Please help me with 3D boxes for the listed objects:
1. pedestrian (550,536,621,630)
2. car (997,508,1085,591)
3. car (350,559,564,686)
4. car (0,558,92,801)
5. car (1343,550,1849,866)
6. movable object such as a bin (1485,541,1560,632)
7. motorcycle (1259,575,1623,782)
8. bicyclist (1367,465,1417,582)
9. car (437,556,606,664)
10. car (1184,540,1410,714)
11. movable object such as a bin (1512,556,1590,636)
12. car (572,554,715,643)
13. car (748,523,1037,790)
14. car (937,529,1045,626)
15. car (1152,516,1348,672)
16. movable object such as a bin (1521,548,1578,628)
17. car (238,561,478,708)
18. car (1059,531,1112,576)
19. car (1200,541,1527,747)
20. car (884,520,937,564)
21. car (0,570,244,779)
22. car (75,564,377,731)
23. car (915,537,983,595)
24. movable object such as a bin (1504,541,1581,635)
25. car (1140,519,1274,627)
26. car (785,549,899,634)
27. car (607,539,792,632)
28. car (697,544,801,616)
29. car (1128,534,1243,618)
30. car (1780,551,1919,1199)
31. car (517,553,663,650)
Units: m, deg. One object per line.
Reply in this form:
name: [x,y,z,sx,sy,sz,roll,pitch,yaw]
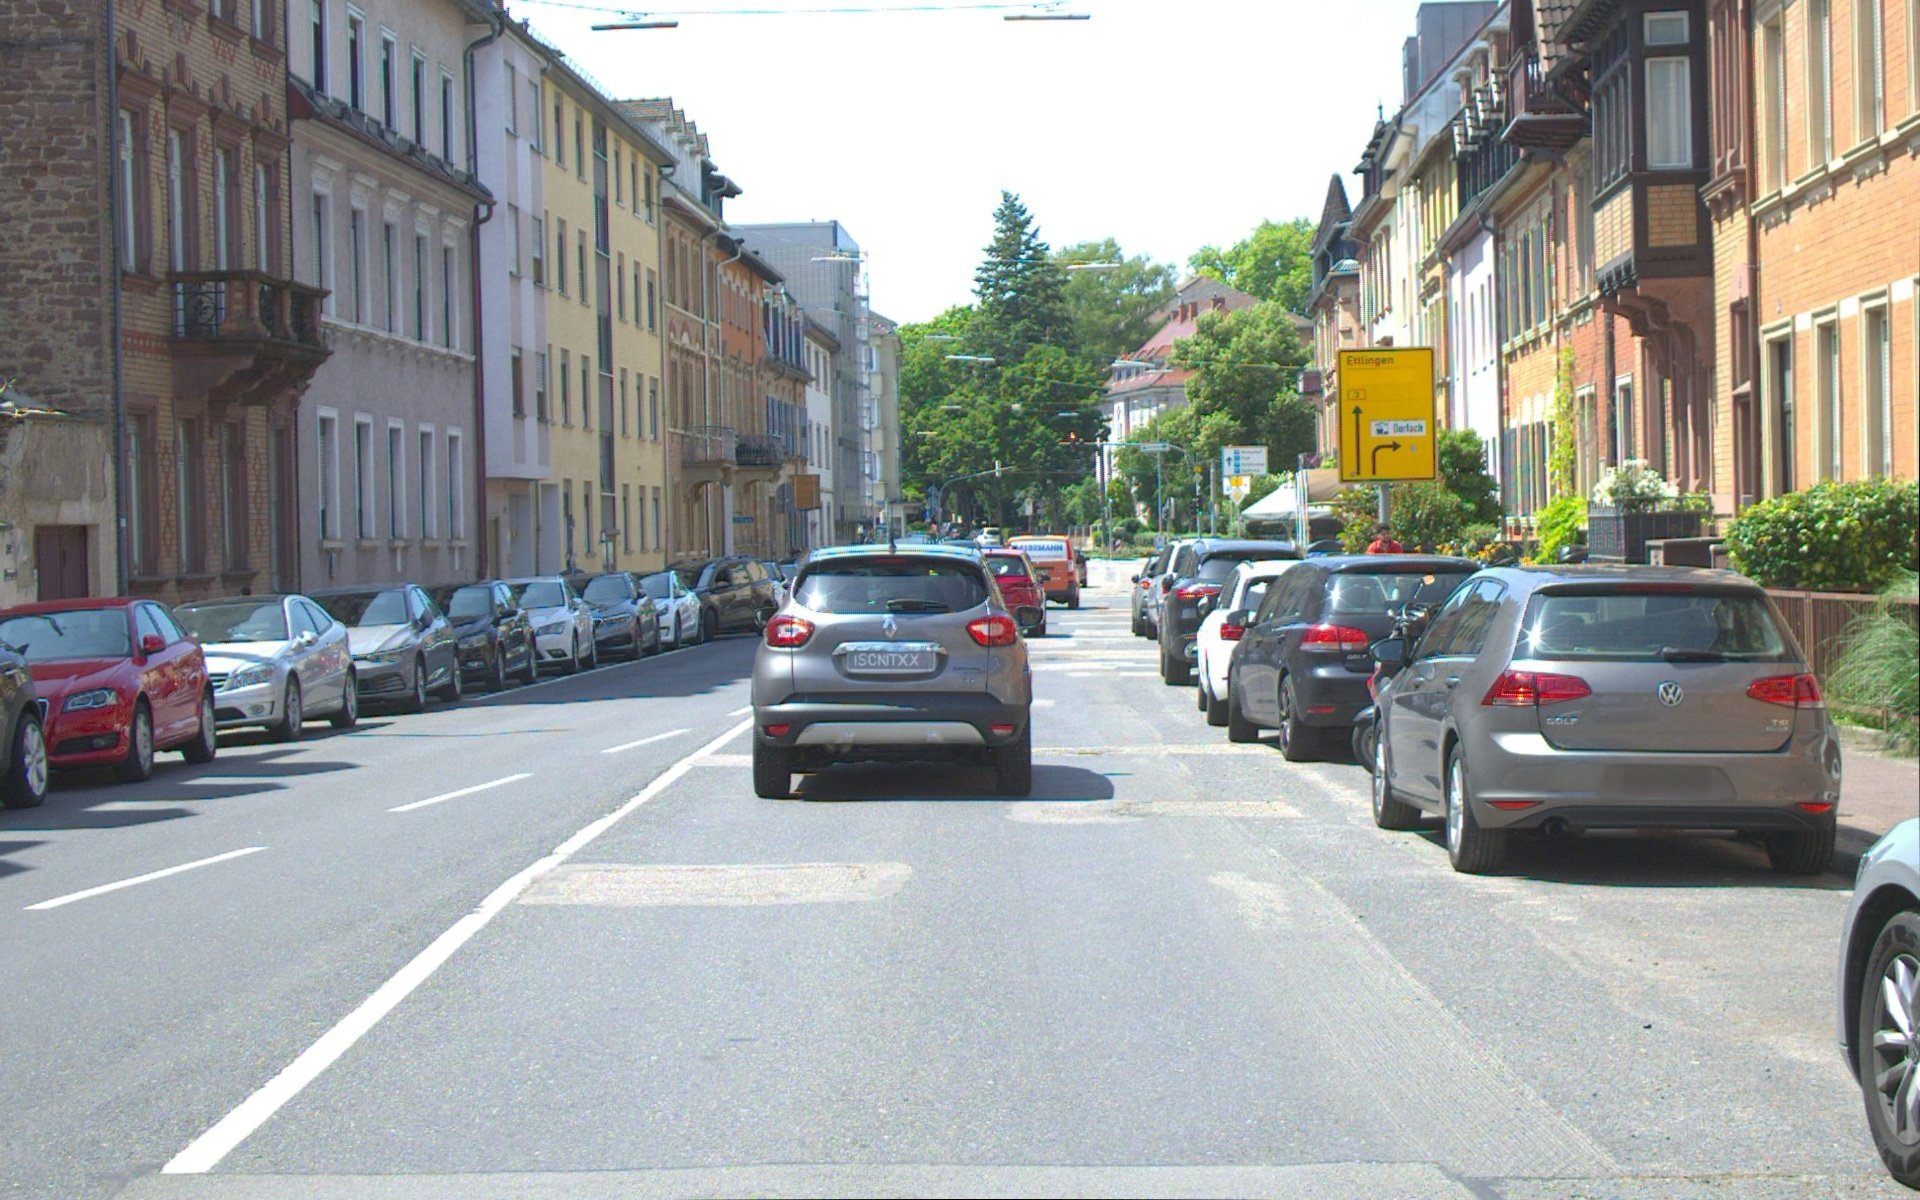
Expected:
pedestrian: [-7.181,-0.335,65.999,1.151,1.744,0.969,-2,1,4]
car: [2.133,-1.327,89.227,1.994,2.007,4.466,-2,1,4]
car: [-6.587,0.258,45.444,1.840,1.417,4.502,-5,1,3]
car: [-7.250,0.598,22.435,1.840,1.591,4.502,-5,1,1]
car: [3.043,0.453,17.277,1.700,1.376,4.167,-1,1,-1]
movable object such as a bin: [6.910,-0.171,42.247,0.788,1.085,0.554,-2,1,-1]
motorcycle: [3.035,0.465,21.771,1.994,1.221,1.110,1,1,40]
bicyclist: [5.550,-0.982,44.225,0.532,1.464,0.791,-2,1,3]
car: [-6.414,0.119,50.697,1.840,1.417,4.502,-4,1,0]
car: [2.983,0.192,31.223,1.716,1.409,4.589,-2,1,2]
movable object such as a bin: [6.952,-0.054,40.438,0.788,0.904,0.539,-2,1,-1]
car: [-5.705,-0.057,62.394,1.840,1.417,4.557,-4,1,3]
car: [-0.401,0.314,22.720,1.744,1.611,4.000,0,1,0]
car: [0.561,-0.427,62.207,1.812,1.615,4.441,-3,1,1]
car: [3.324,-0.098,40.222,1.993,1.656,4.625,-2,1,2]
movable object such as a bin: [7.980,-0.163,46.555,0.659,1.051,0.748,-1,1,3]
car: [-6.849,0.355,39.582,1.840,1.417,4.502,-6,1,0]
car: [4.557,-1.685,124.619,1.763,1.554,3.942,-2,1,4]
car: [2.967,0.280,26.161,1.648,1.409,4.502,-1,1,-4]
car: [-2.117,-2.494,147.393,1.905,1.815,4.302,-2,1,4]
car: [-7.050,0.553,27.241,1.839,1.417,4.503,-4,1,-2]
car: [-7.102,0.415,33.722,1.840,1.417,4.502,-3,1,1]
car: [-0.394,-1.147,112.914,1.993,1.786,5.149,-2,1,-2]
movable object such as a bin: [6.953,-0.146,41.068,0.788,1.085,0.539,-2,1,-1]
car: [4.117,-0.487,57.887,1.860,1.742,4.618,0,1,-1]
car: [-2.113,-0.176,62.457,1.790,1.415,4.315,-2,1,1]
car: [-5.162,-0.313,68.759,1.906,1.632,4.554,-3,1,20]
car: [-4.892,-0.490,80.221,1.905,1.505,4.302,-3,1,2]
car: [4.109,-0.468,63.328,1.860,1.482,4.310,0,1,1]
car: [3.223,0.623,6.440,1.853,1.458,4.551,-1,1,-6]
car: [-6.045,-0.004,56.621,1.840,1.417,4.646,-4,1,0]
